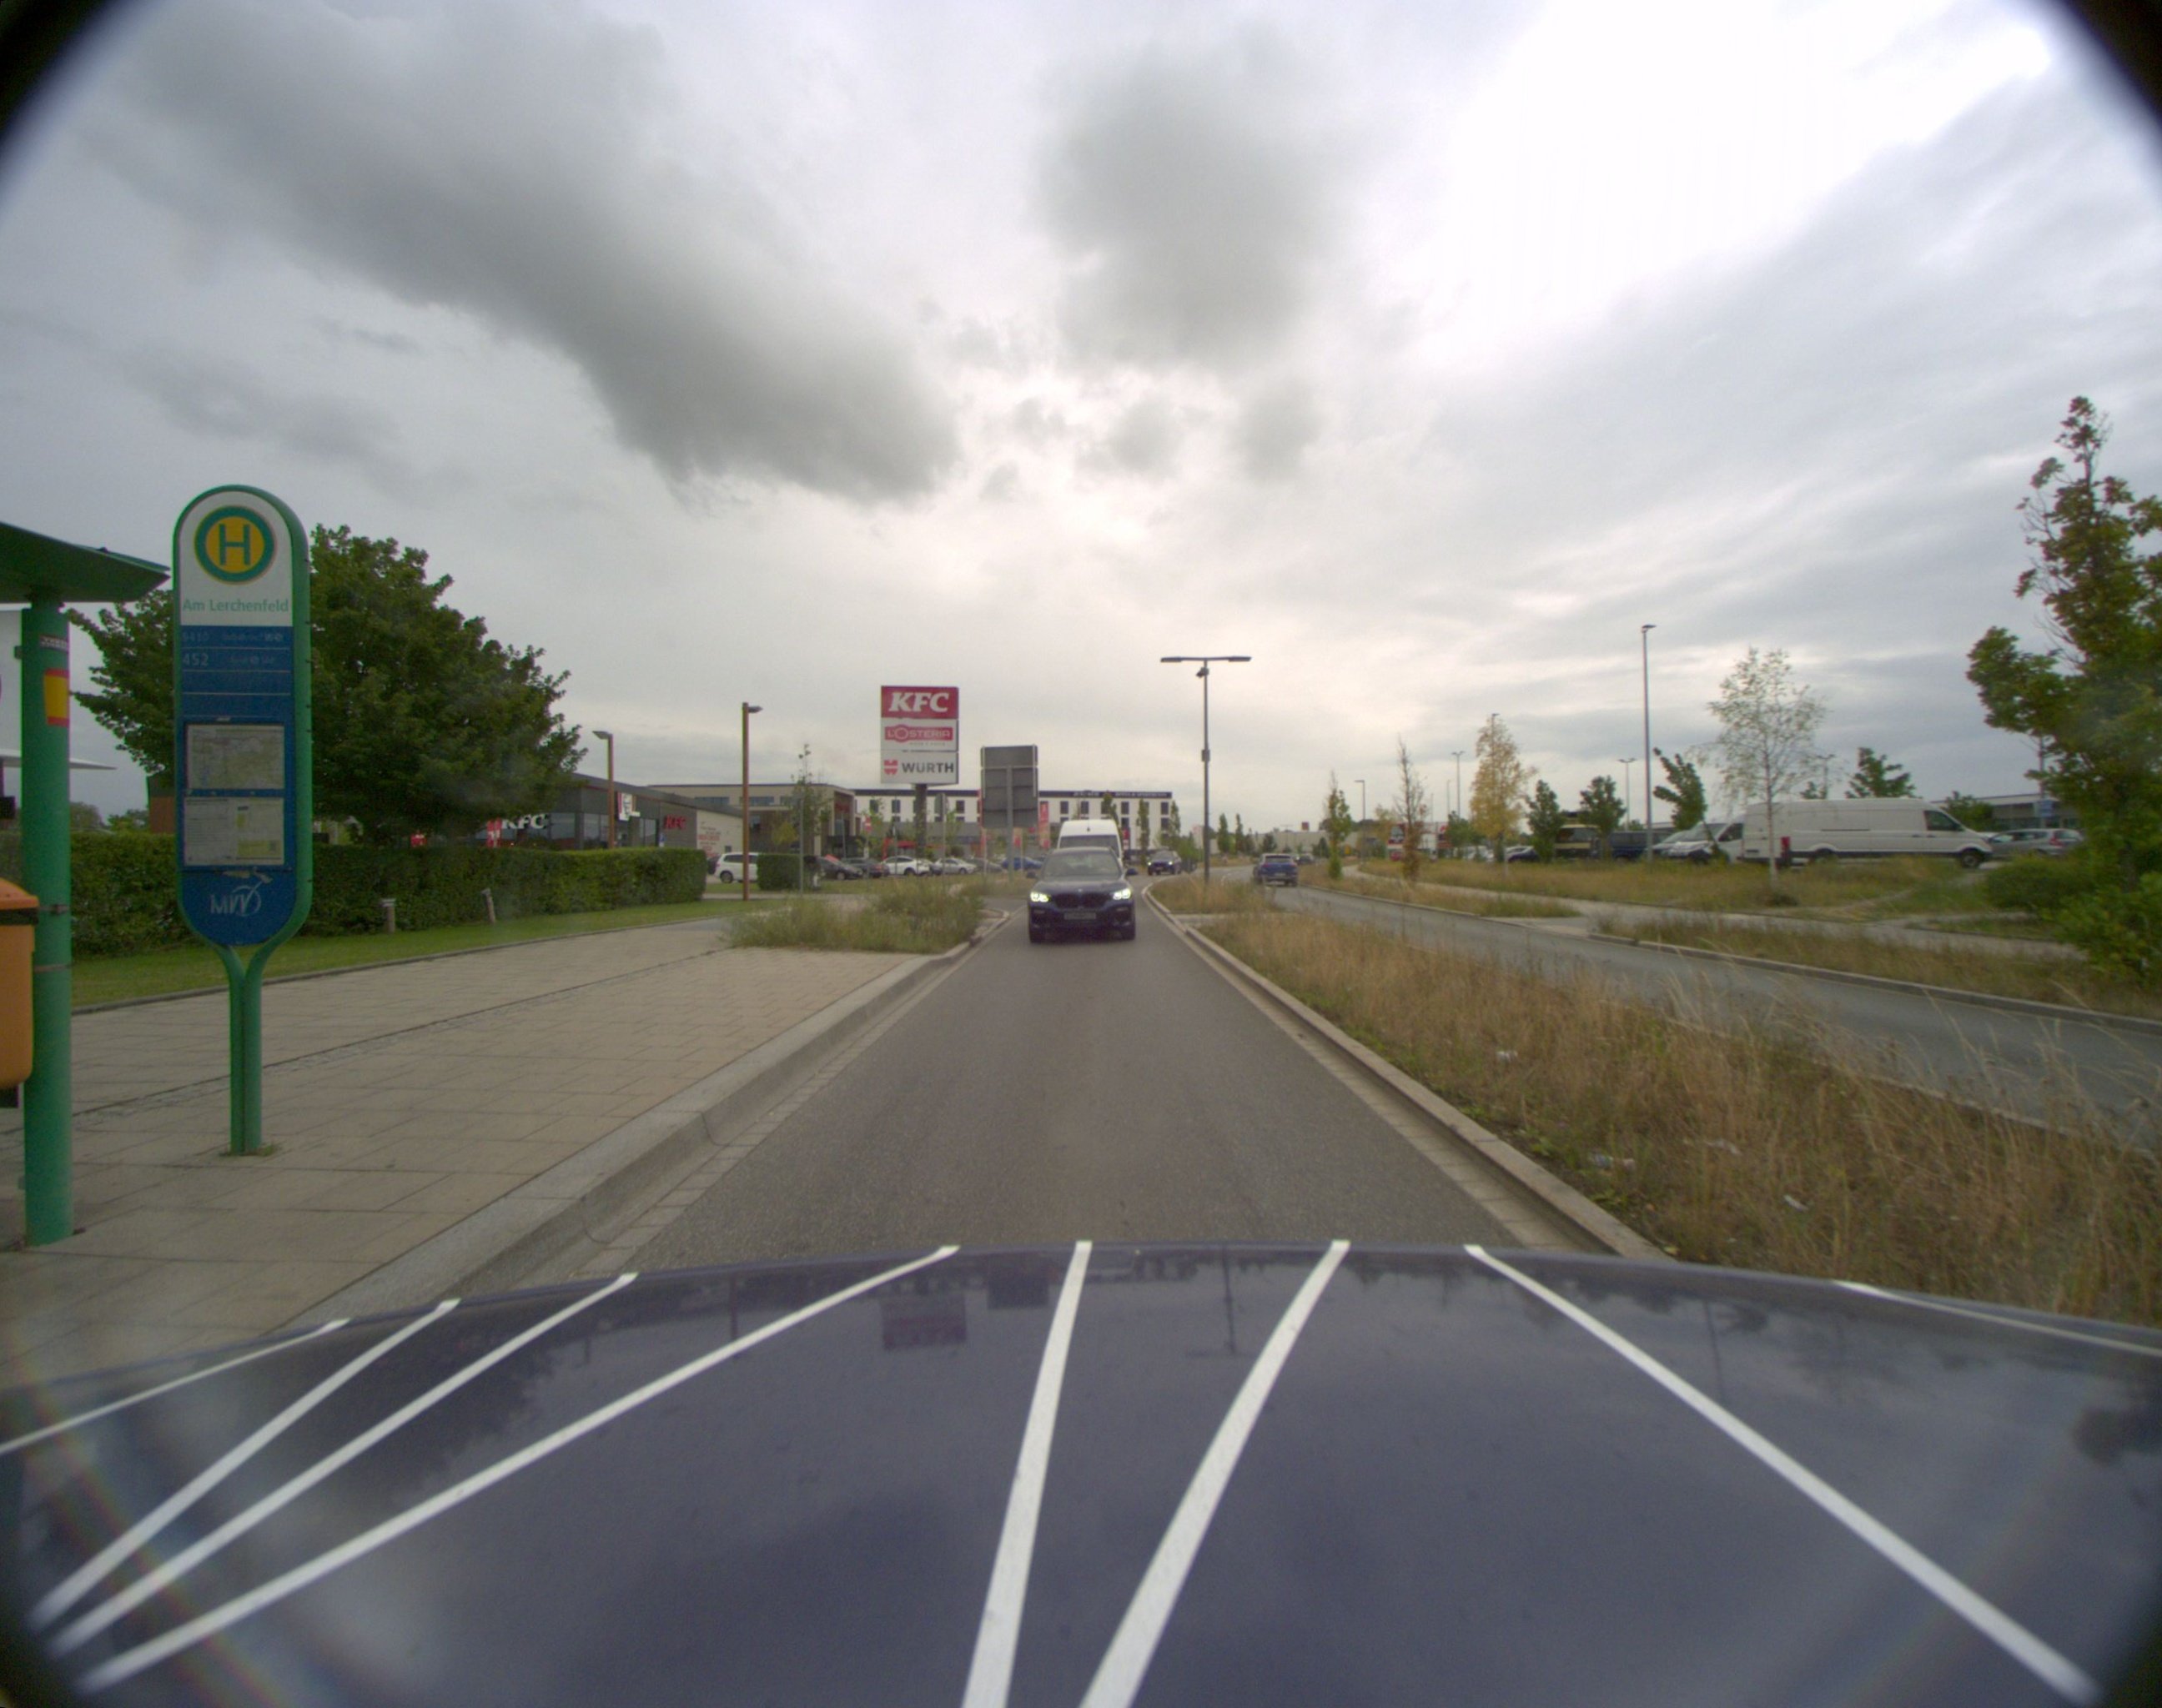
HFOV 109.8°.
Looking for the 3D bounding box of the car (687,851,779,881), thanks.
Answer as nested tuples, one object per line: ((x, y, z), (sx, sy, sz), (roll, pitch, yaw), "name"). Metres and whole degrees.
((-18.479, 0.634, 40.455), (3.996, 1.519, 1.847), (-1, 0, 2), "car")

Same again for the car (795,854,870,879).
((-15.520, 0.786, 47.562), (3.994, 1.477, 1.848), (-1, 0, 9), "car")

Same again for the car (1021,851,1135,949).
((-0.035, 0.769, 14.529), (1.867, 1.598, 4.000), (-1, 0, 0), "car")

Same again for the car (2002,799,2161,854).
((47.009, -1.244, 35.412), (2.063, 2.359, 5.057), (-2, 1, 1), "car")

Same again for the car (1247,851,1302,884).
((9.327, 0.643, 36.928), (1.733, 1.504, 4.000), (-1, 0, 1), "car")

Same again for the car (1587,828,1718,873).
((29.554, -0.155, 39.452), (5.050, 2.210, 2.066), (-1, 0, 8), "car")

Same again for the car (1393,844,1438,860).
((33.719, -0.199, 76.714), (3.991, 1.455, 1.739), (-2, 1, 21), "car")

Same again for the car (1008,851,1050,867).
((-5.531, 0.508, 80.677), (3.992, 1.477, 1.849), (-2, 1, 18), "car")

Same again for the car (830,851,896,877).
((-15.357, 0.687, 53.635), (3.994, 1.602, 1.848), (-2, 1, 9), "car")

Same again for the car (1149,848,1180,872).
((6.317, 0.457, 57.228), (1.860, 1.660, 4.004), (-2, -1, 11), "car")

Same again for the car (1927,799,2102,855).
((43.727, -1.223, 35.833), (2.063, 2.359, 5.057), (-2, 1, 1), "car")

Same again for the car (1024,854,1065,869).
((-3.993, 0.775, 82.731), (3.992, 1.477, 1.849), (-2, 1, 18), "car")

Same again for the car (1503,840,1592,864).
((33.334, -0.155, 54.408), (5.049, 1.646, 2.066), (-1, 0, 11), "car")

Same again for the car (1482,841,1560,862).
((35.534, -0.180, 61.488), (5.049, 1.646, 2.066), (-1, 0, 11), "car")

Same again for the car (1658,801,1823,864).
((27.569, -0.888, 31.877), (5.053, 2.359, 2.064), (-2, 1, 1), "car")

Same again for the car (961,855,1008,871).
((-9.066, 0.851, 71.505), (3.993, 1.477, 1.849), (-1, 0, 13), "car")

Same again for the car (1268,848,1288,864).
((22.201, 0.237, 85.662), (1.996, 1.660, 4.005), (-2, -1, 16), "car")

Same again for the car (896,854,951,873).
((-12.917, 0.785, 62.416), (3.994, 1.477, 1.848), (-1, 0, 9), "car")

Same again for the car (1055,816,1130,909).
((0.325, 0.247, 23.756), (2.026, 2.513, 6.105), (-1, 0, 0), "car")

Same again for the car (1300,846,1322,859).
((26.918, -0.169, 88.830), (1.730, 1.484, 4.007), (0, 0, 28), "car")

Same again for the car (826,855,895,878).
((-14.589, 0.798, 50.319), (3.994, 1.477, 1.848), (-1, 0, 9), "car")

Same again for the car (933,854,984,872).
((-10.806, 0.795, 66.982), (3.993, 1.477, 1.849), (-1, 0, 13), "car")

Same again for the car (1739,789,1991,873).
((27.497, -0.768, 26.847), (6.413, 2.609, 2.065), (-2, 1, 5), "car")

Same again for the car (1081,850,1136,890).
((1.294, 0.712, 34.192), (1.997, 1.660, 4.003), (-2, -1, 8), "car")

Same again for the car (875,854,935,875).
((-13.220, 0.762, 57.270), (3.994, 1.513, 1.848), (-1, 0, 9), "car")
